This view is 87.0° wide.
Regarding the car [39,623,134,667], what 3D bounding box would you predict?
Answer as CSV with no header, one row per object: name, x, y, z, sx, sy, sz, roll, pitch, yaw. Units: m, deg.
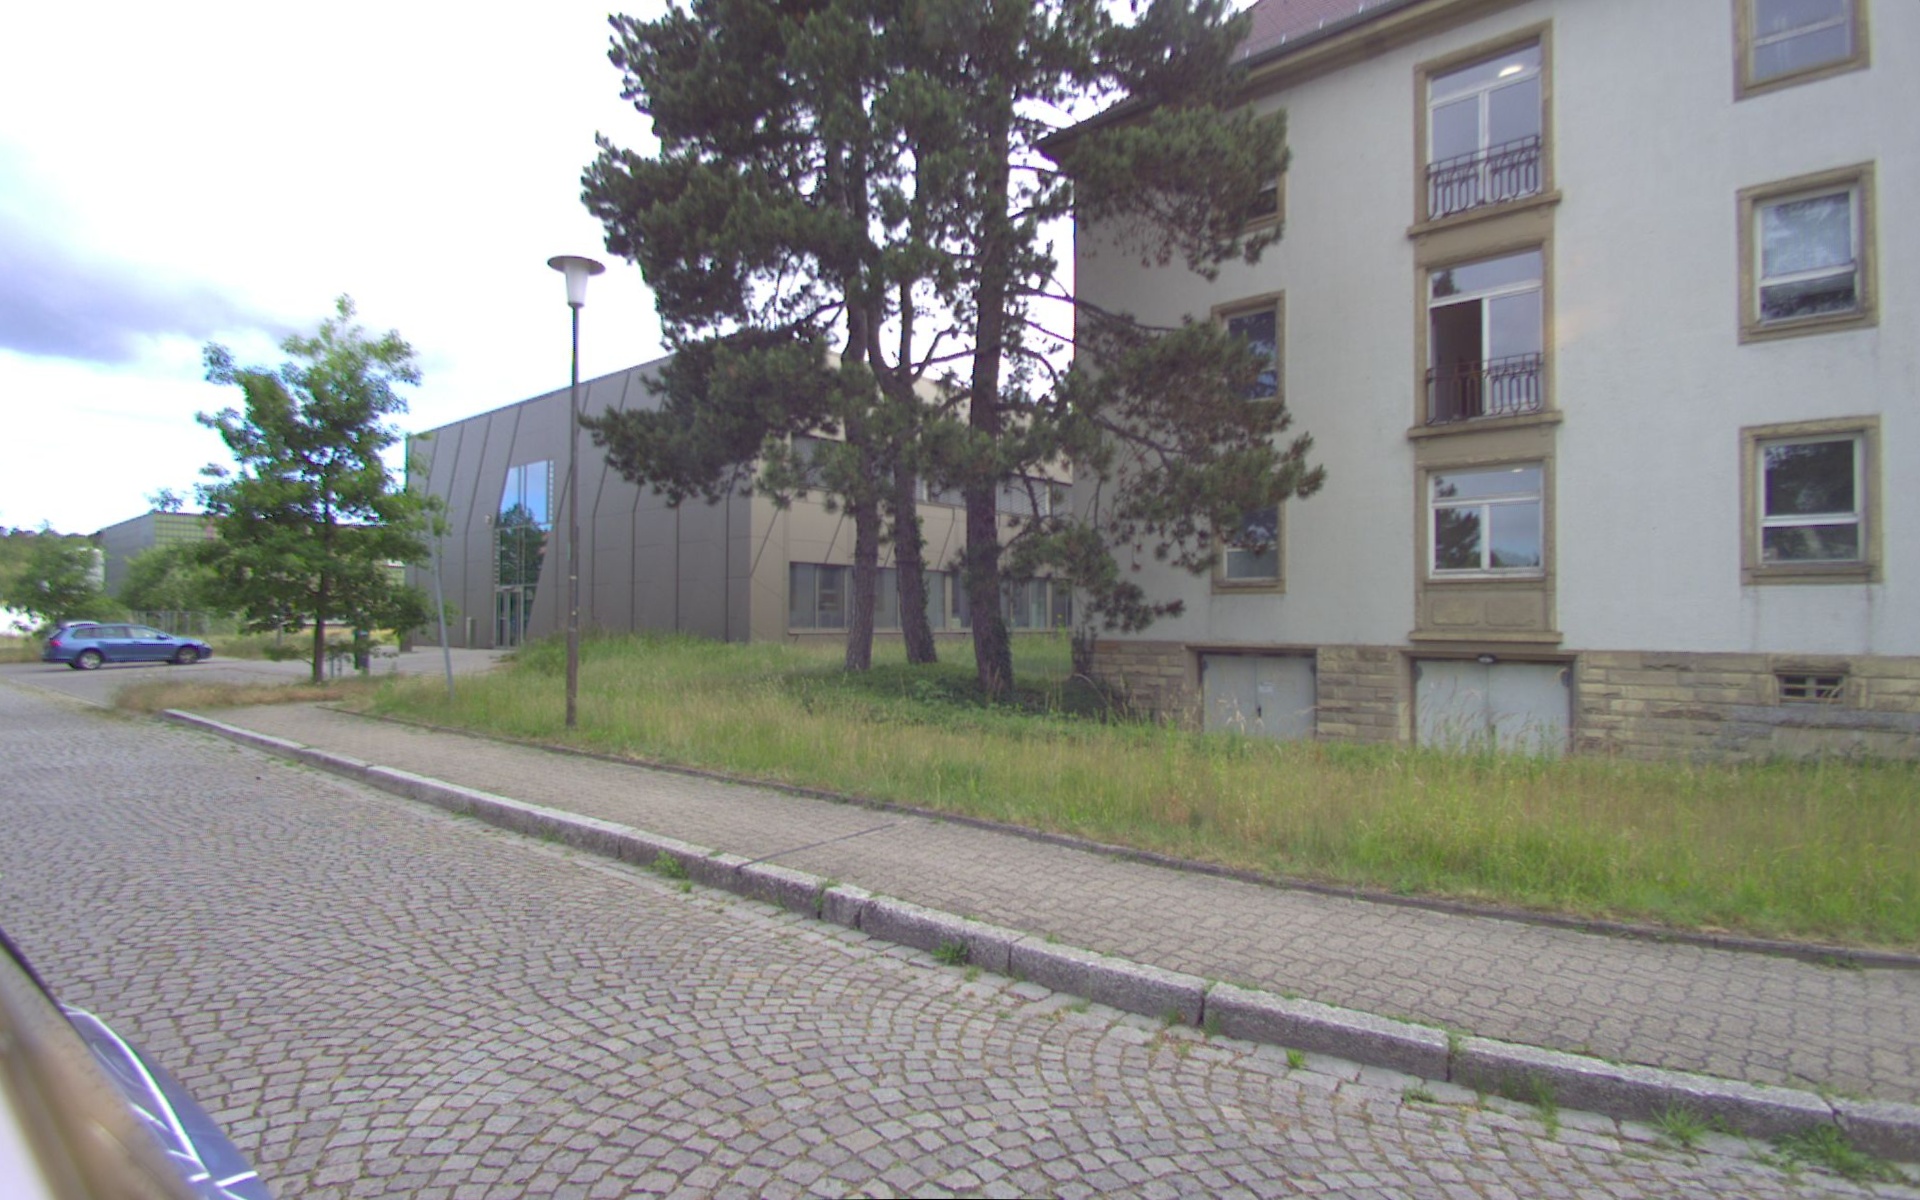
car,-33.604,1.689,38.979,1.499,1.541,2.552,-1,0,39

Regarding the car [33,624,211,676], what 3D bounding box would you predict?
car,-28.109,1.631,34.072,1.632,1.481,4.372,-1,0,39
